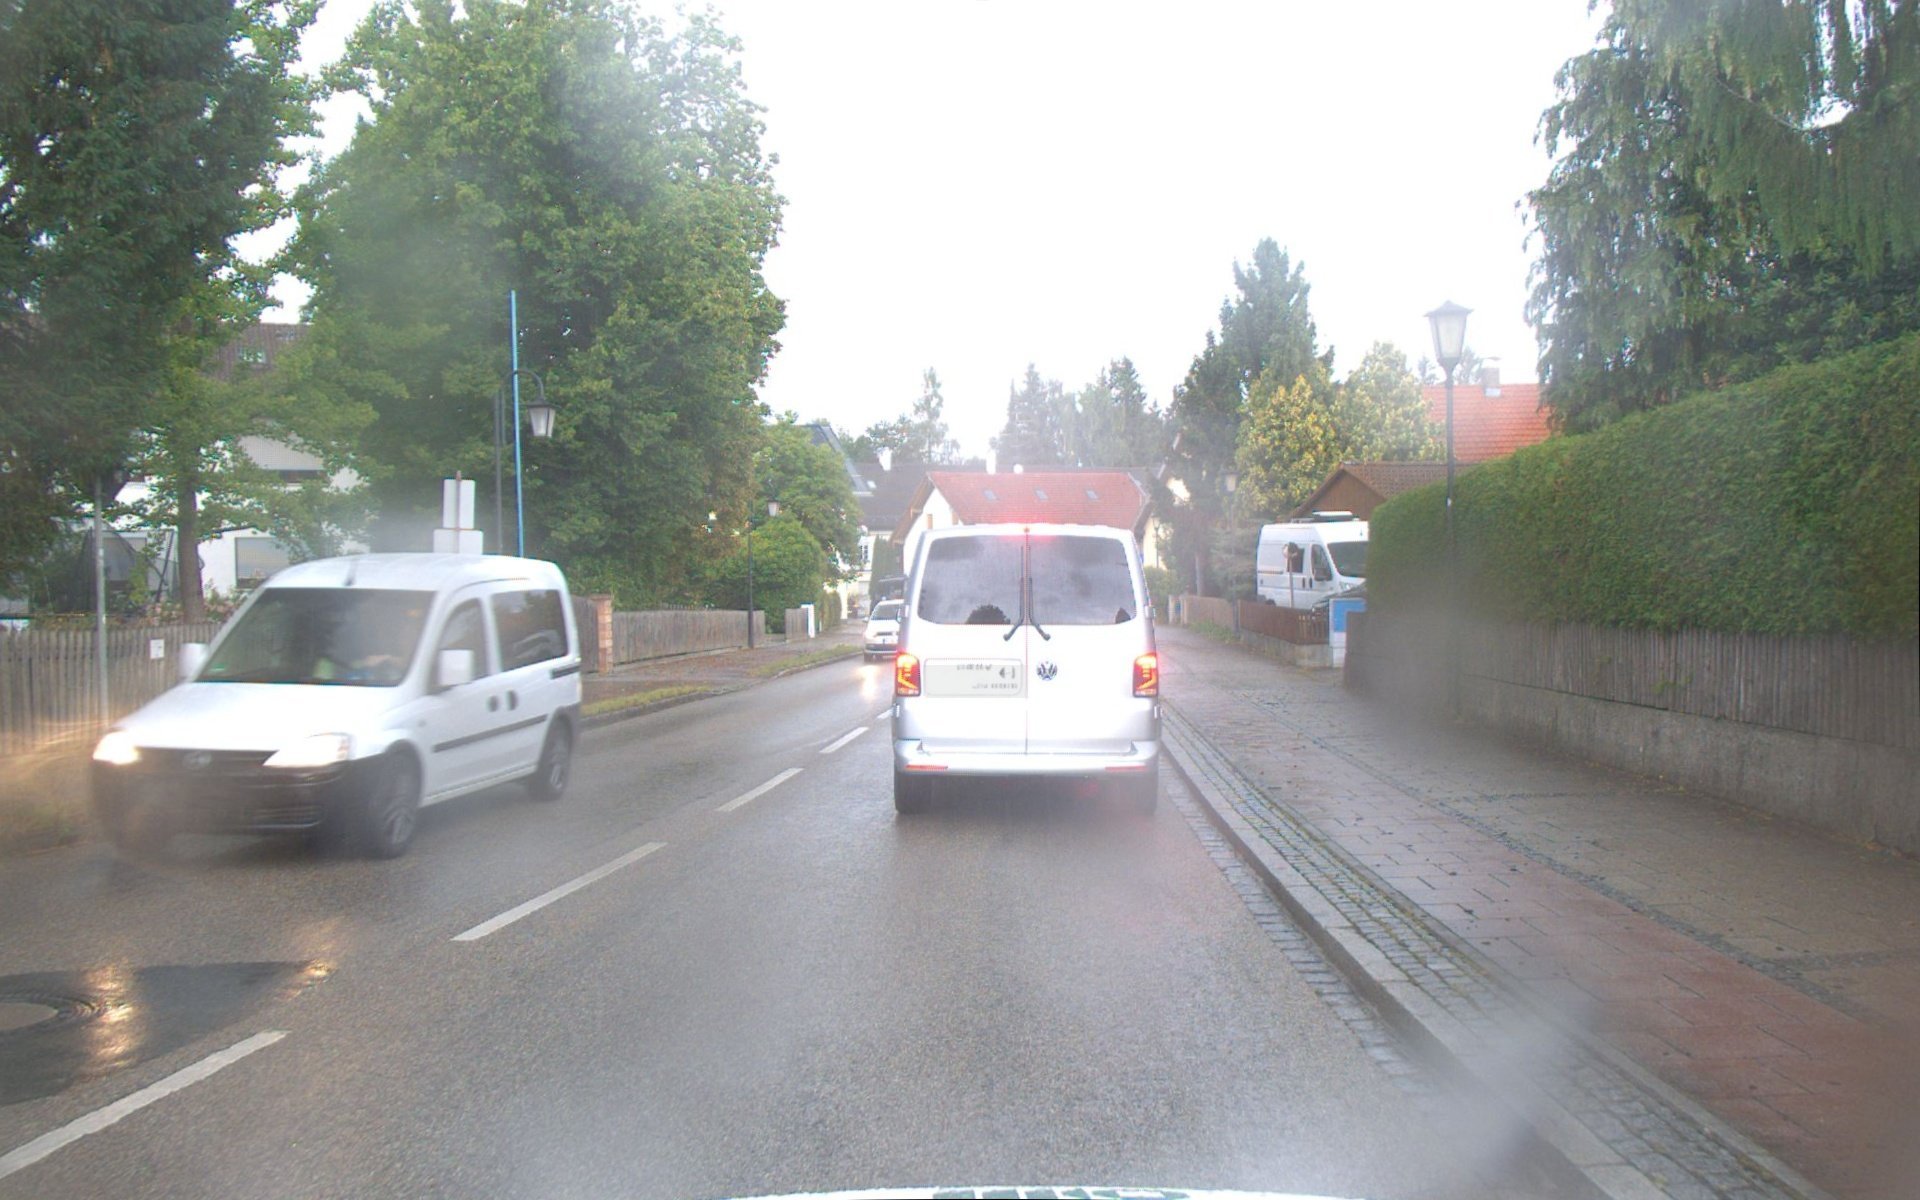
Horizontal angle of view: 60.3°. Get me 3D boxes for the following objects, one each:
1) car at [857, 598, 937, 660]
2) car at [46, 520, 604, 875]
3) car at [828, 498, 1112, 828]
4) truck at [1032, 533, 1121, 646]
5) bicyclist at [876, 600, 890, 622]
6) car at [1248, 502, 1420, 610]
[{"bbox_3d":[-1.526,0.721,41.367,1.584,1.470,3.672,0,-1,5],"label":"car"},{"bbox_3d":[-3.735,0.517,10.663,1.605,1.796,4.333,1,-1,5],"label":"car"},{"bbox_3d":[0.244,0.412,12.412,1.762,2.049,4.002,1,-1,5],"label":"car"},{"bbox_3d":[3.389,-0.253,49.358,2.424,3.128,6.298,1,-1,2],"label":"truck"},{"bbox_3d":[-3.561,0.509,76.431,0.575,1.039,1.061,0,0,2],"label":"bicyclist"},{"bbox_3d":[8.235,-0.895,36.926,1.957,2.211,4.940,1,-1,-10],"label":"car"}]
